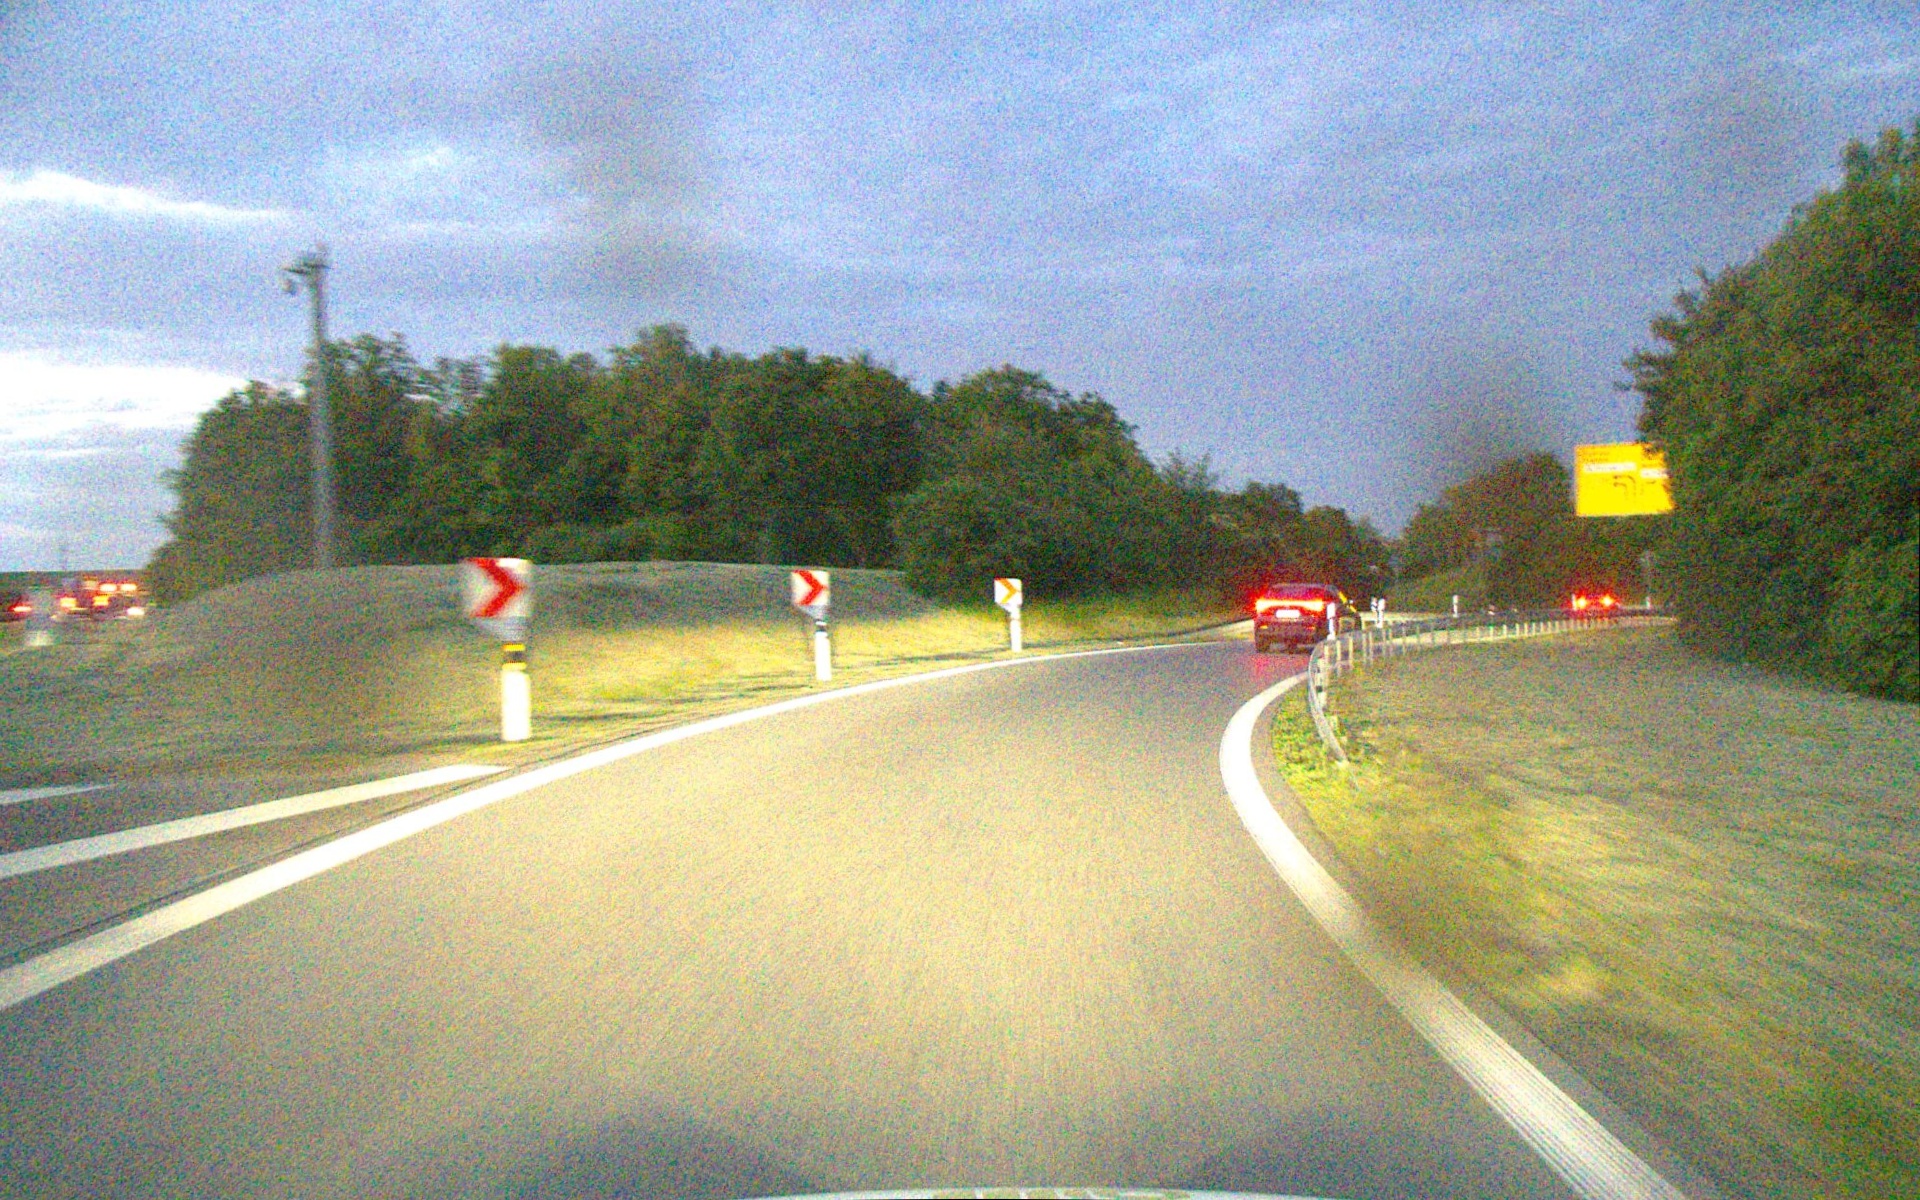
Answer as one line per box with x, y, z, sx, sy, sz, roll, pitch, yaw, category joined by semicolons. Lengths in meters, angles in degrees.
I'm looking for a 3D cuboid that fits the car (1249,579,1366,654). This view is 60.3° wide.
8.398;0.346;39.714;1.953;1.688;4.313;0;1;23;car

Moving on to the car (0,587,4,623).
-56.862;0.365;95.720;1.966;2.048;3.975;-4;2;-21;car

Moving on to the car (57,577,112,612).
-54.104;-0.323;102.128;2.245;2.048;5.078;-2;1;-37;car

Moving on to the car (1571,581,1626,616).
30.721;-0.098;79.548;1.956;1.626;3.993;0;1;29;car
